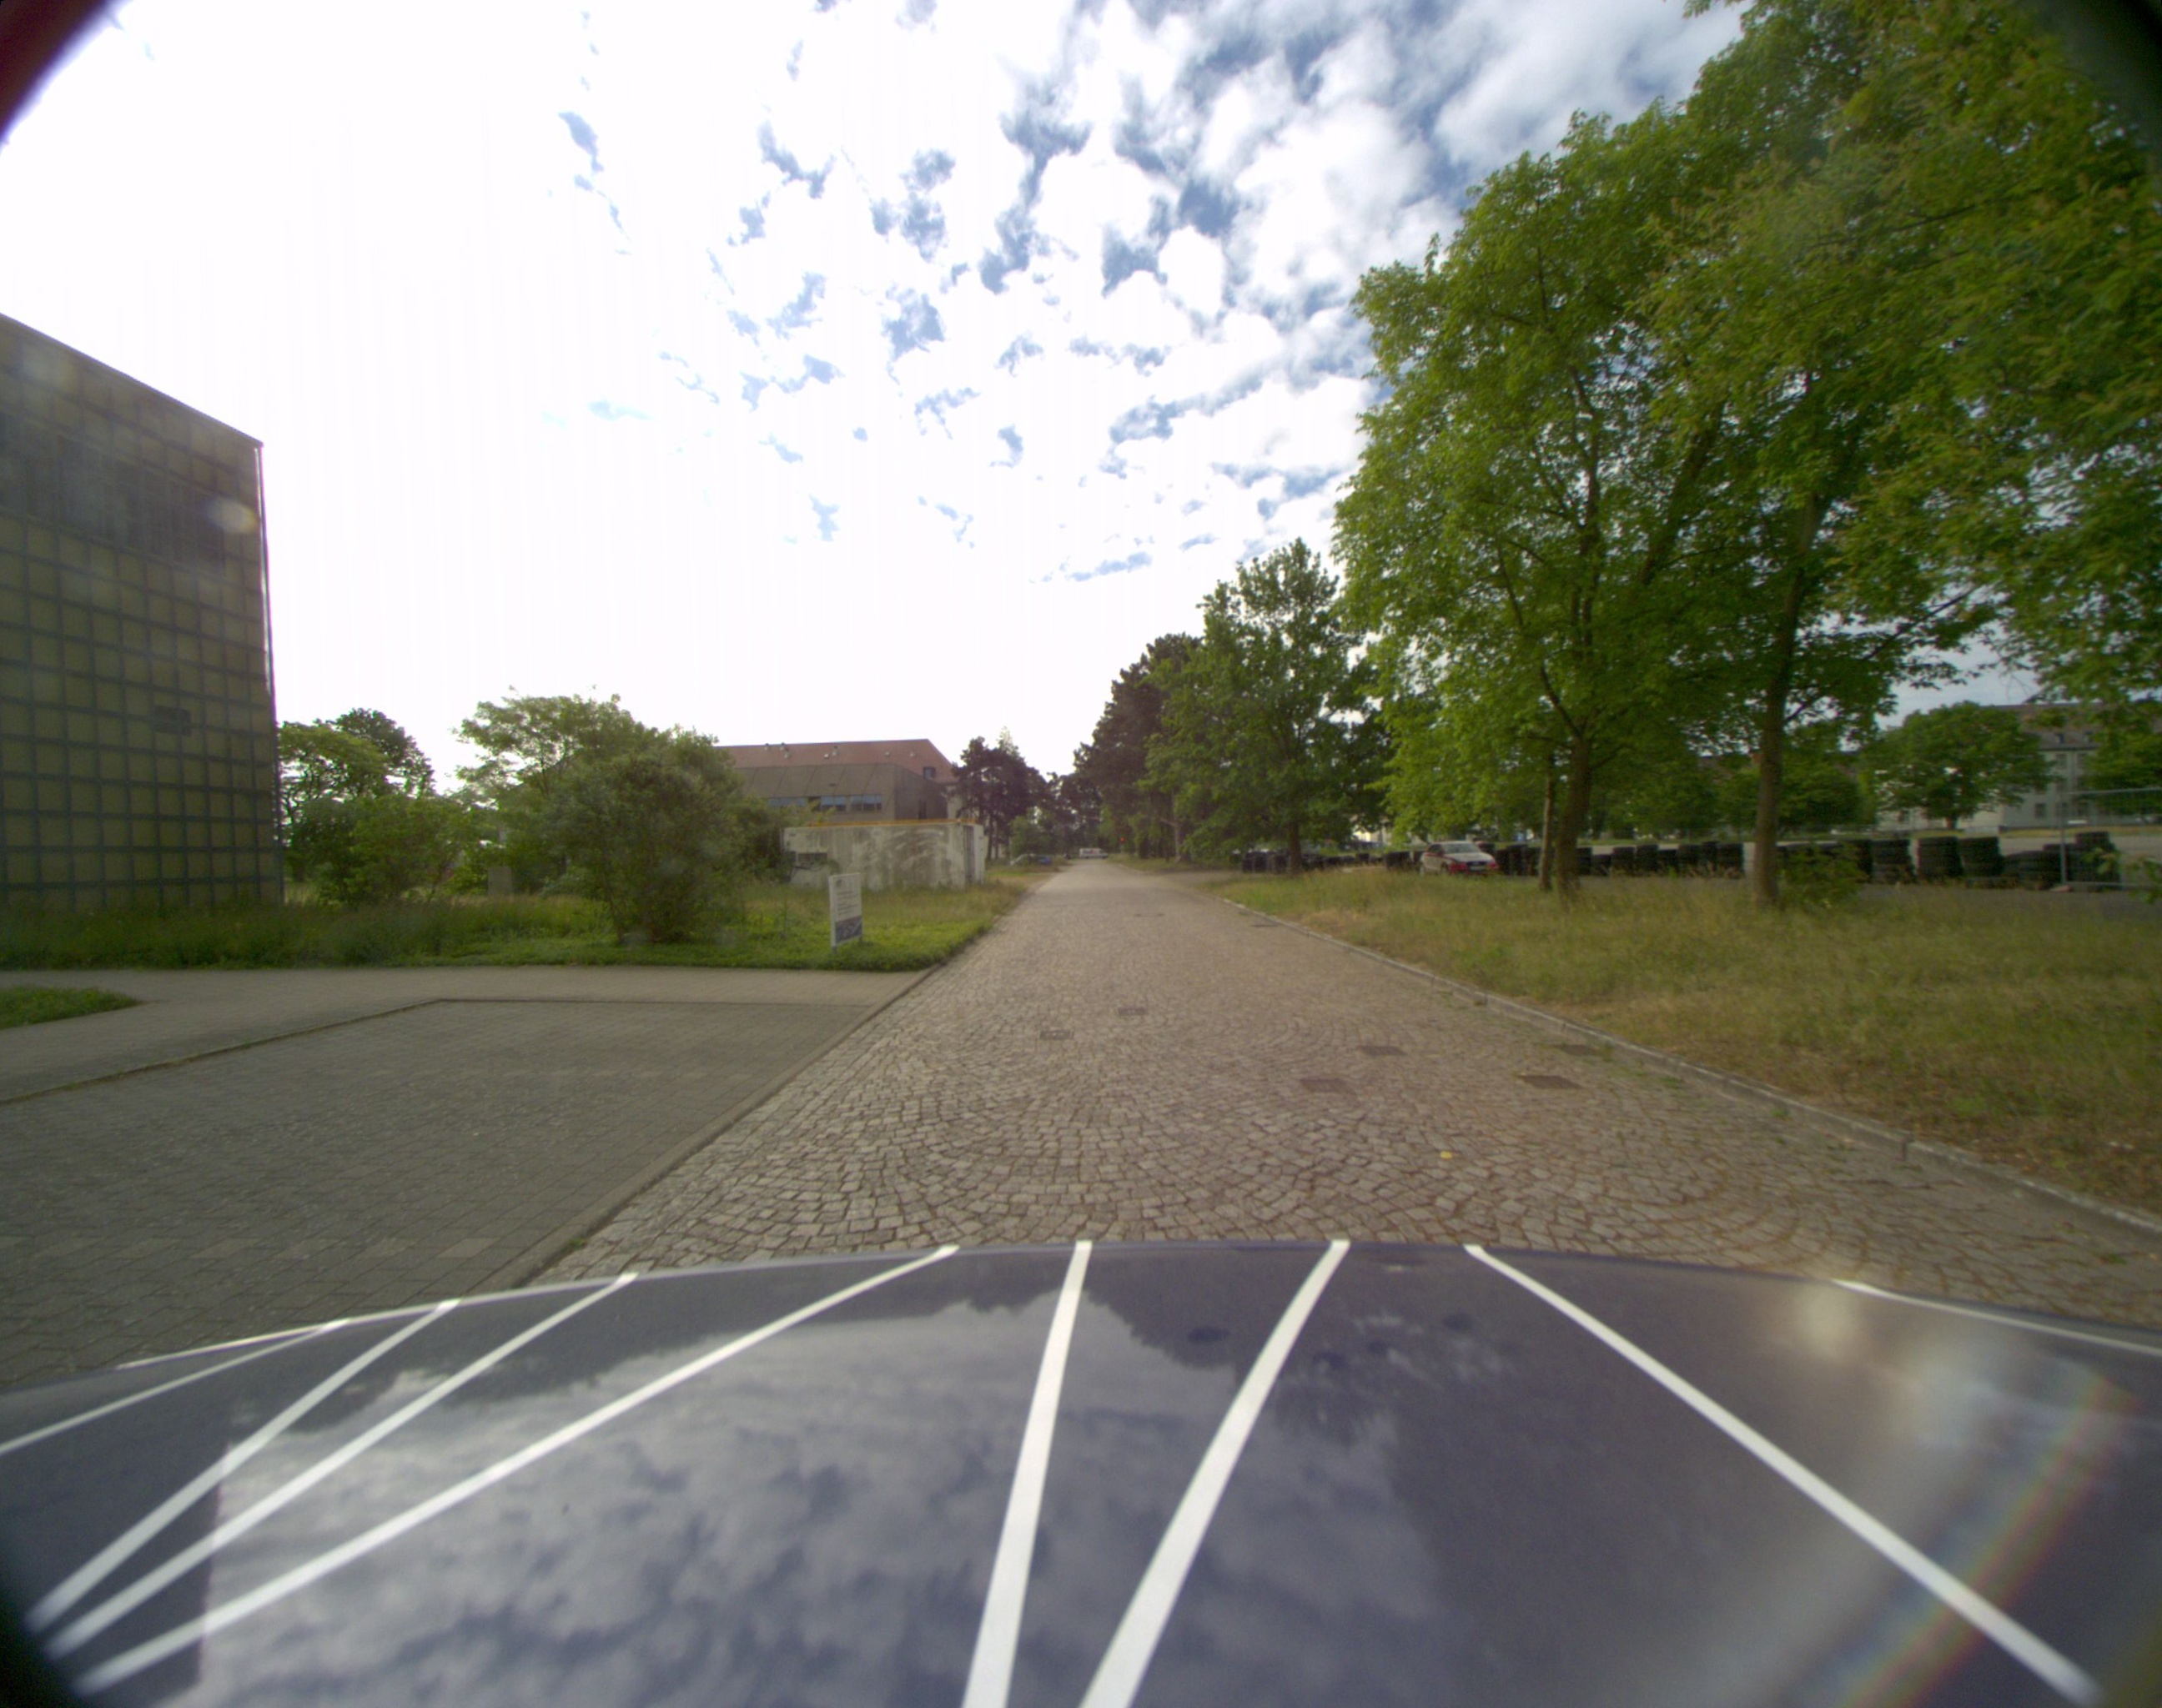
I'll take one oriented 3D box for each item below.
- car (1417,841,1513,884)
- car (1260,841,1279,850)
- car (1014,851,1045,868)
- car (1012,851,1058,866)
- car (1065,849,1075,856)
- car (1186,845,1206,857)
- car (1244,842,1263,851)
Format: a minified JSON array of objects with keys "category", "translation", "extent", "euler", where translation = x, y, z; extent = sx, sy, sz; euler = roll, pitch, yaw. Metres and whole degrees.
[{"category":"car","translation":[14.266,0.276,28.516],"extent":[1.827,1.423,4.220],"euler":[-2,1,6]},{"category":"car","translation":[32.287,-1.382,130.280],"extent":[1.999,1.441,4.451],"euler":[-2,1,-3]},{"category":"car","translation":[-4.779,0.479,70.412],"extent":[2.748,1.573,1.682],"euler":[0,1,1]},{"category":"car","translation":[-4.675,0.431,77.699],"extent":[4.537,1.441,1.931],"euler":[0,1,-2]},{"category":"car","translation":[-2.814,-0.411,193.205],"extent":[1.999,1.777,3.998],"euler":[-2,1,-5]},{"category":"car","translation":[13.859,-0.364,91.780],"extent":[1.670,1.402,3.723],"euler":[-2,1,-2]},{"category":"car","translation":[29.402,-1.256,129.779],"extent":[1.999,1.441,4.451],"euler":[-2,1,-3]}]
